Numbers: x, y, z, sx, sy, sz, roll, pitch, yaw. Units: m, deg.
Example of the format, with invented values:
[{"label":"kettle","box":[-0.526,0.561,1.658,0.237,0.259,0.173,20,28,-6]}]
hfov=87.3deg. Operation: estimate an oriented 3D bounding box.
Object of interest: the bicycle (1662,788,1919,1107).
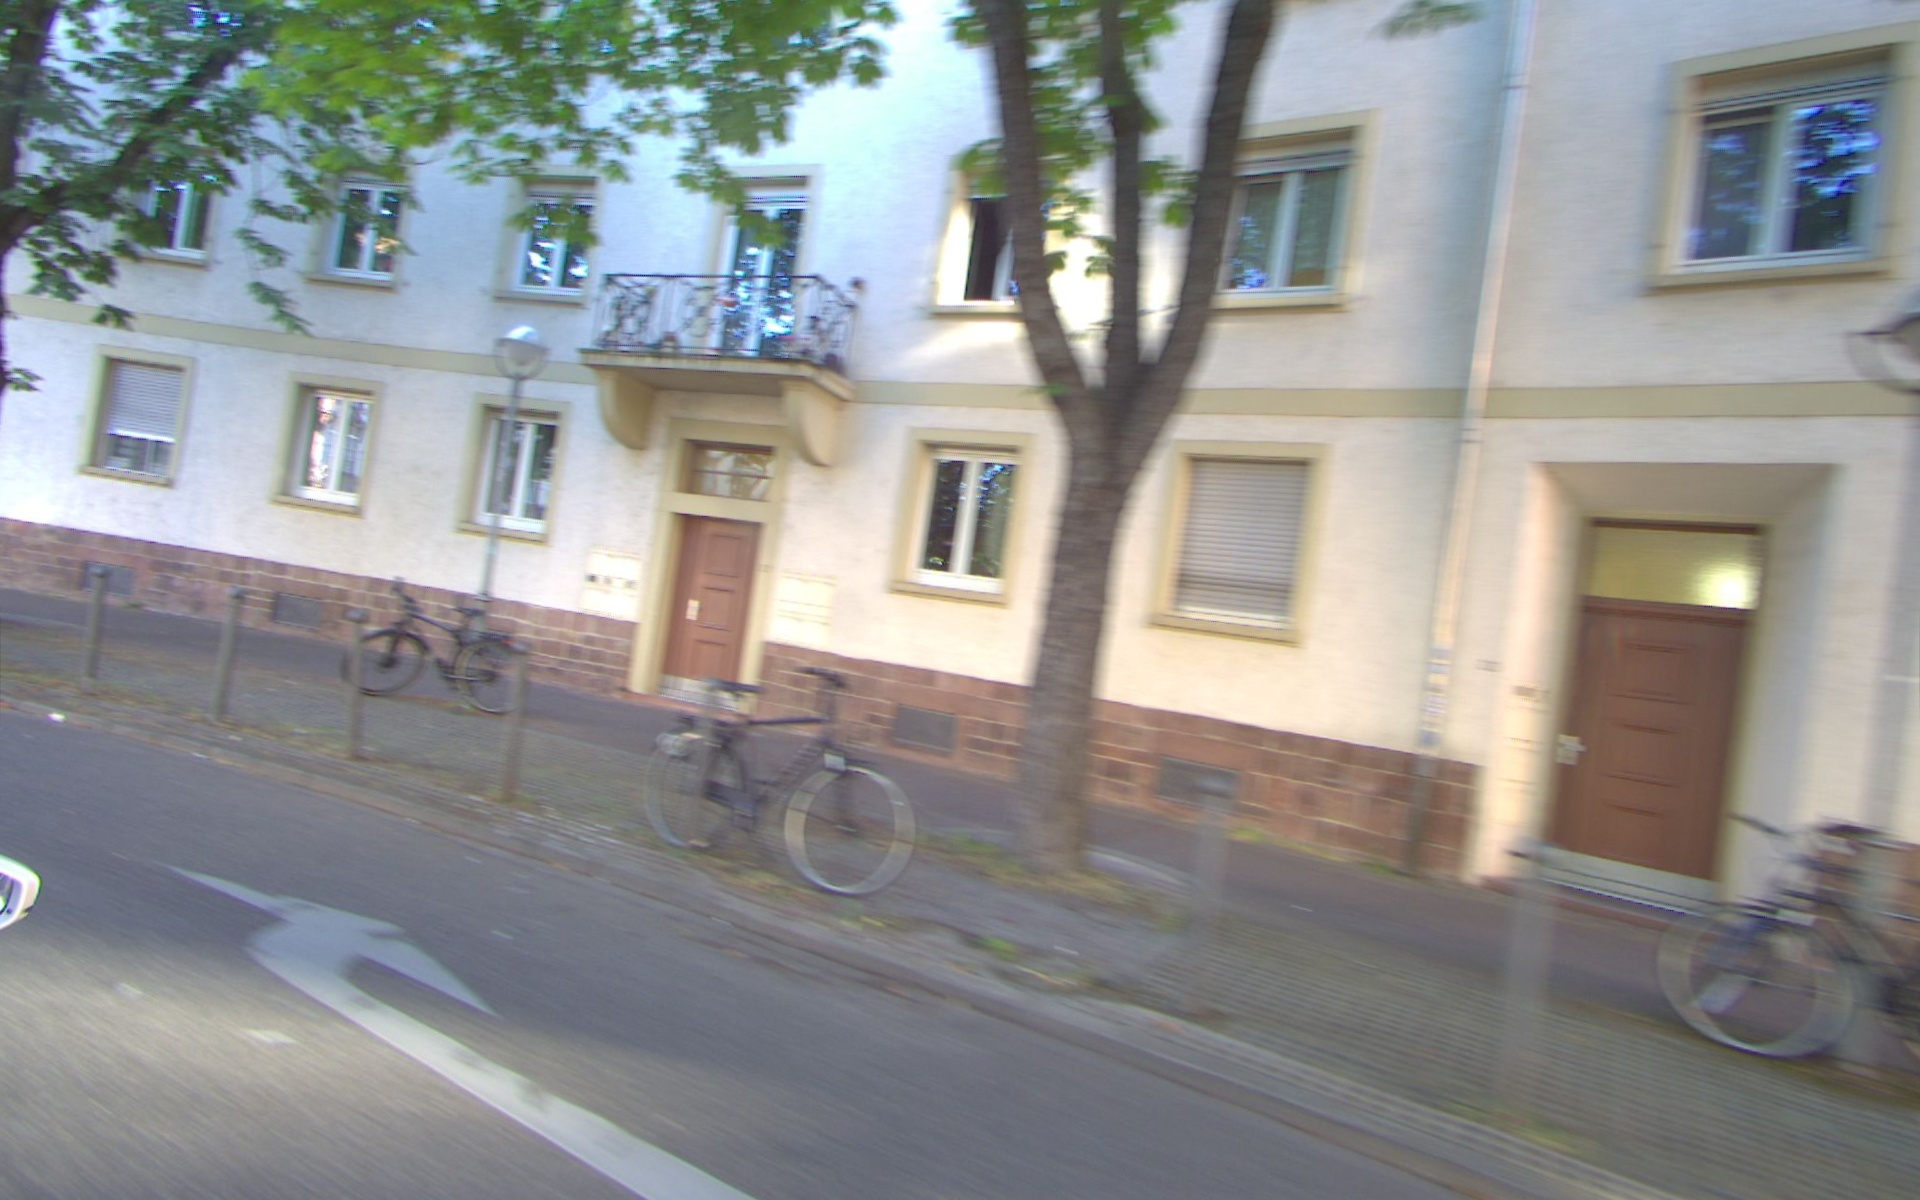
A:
[{"label":"bicycle","box":[4.365,1.638,4.574,1.753,1.194,0.438,8,-1,26]}]

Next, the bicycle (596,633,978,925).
[{"label":"bicycle","box":[-0.994,0.915,5.635,1.966,1.172,0.681,7,-1,27]}]

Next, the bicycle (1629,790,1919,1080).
[{"label":"bicycle","box":[4.479,1.693,4.992,1.770,1.122,0.392,8,-1,25]}]

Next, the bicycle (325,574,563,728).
[{"label":"bicycle","box":[-4.859,0.472,9.559,1.789,1.197,0.673,7,1,-3]}]
